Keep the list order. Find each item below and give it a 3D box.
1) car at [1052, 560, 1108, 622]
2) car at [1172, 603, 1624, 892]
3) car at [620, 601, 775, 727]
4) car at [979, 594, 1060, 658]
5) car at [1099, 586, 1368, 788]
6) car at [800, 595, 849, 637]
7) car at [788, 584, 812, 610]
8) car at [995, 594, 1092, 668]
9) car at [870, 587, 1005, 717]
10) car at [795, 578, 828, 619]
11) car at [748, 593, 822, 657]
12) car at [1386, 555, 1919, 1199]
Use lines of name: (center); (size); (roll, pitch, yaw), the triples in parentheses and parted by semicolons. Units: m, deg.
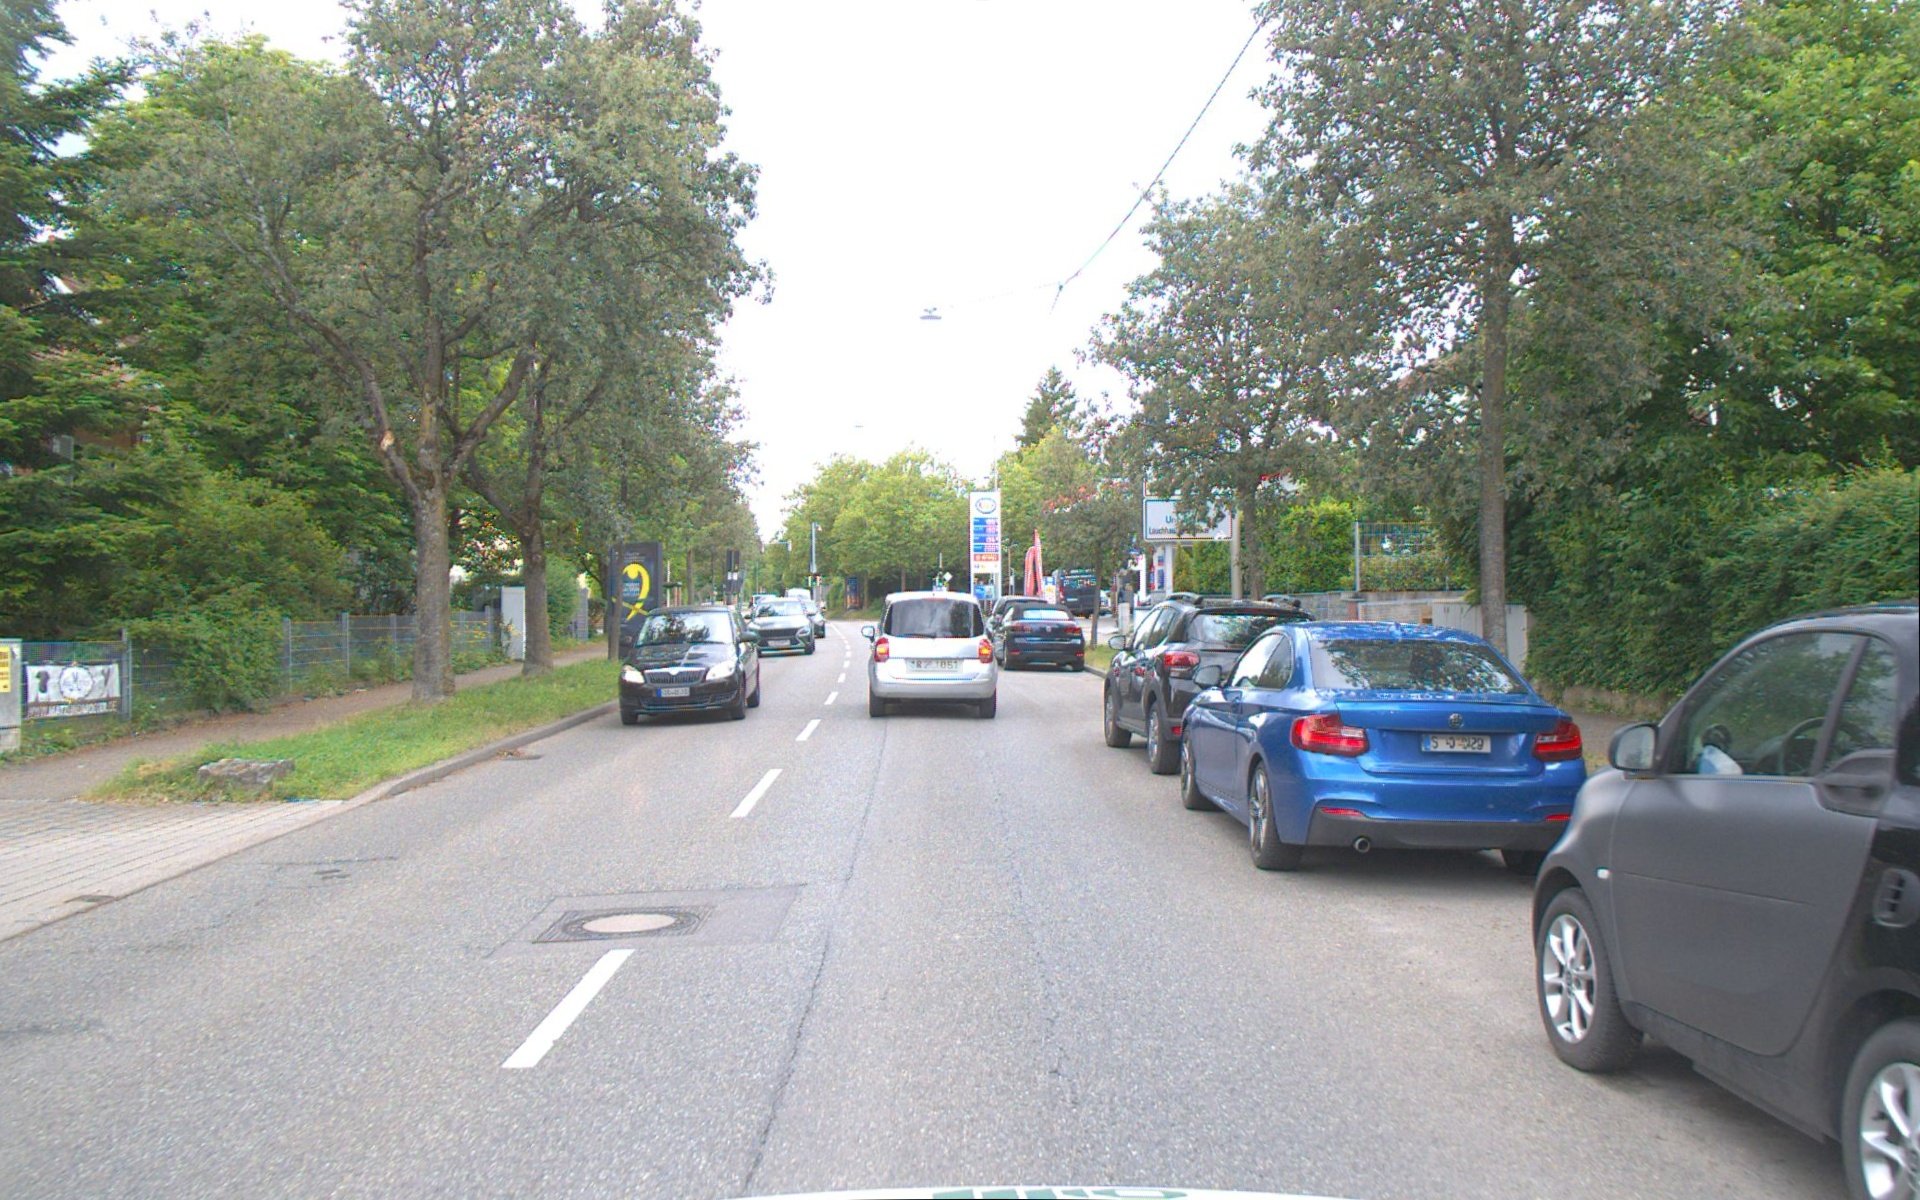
car: (5.882, -0.428, 81.760); (2.235, 2.962, 5.277); (1, 0, -2)
car: (2.539, 0.760, 10.692); (1.662, 1.458, 4.338); (0, 0, -2)
car: (-3.491, 0.799, 22.572); (1.513, 1.496, 3.741); (-2, 0, -1)
car: (1.455, 0.620, 41.890); (1.662, 1.532, 3.641); (-1, 0, -4)
car: (2.475, 0.735, 15.912); (1.662, 1.597, 3.953); (4, 0, -3)
car: (-5.186, 0.587, 63.802); (1.661, 1.532, 3.643); (0, 0, -2)
car: (-12.882, -0.241, 133.363); (1.705, 2.049, 3.999); (0, 0, -2)
car: (1.784, 0.634, 36.435); (1.662, 1.532, 3.969); (-1, 0, -4)
car: (-0.321, 0.625, 22.080); (1.645, 1.587, 3.510); (0, 0, -2)
car: (-9.093, -0.106, 101.562); (1.896, 2.450, 3.997); (0, 0, -4)
car: (-4.836, 0.659, 45.998); (1.758, 1.582, 3.670); (-3, 0, -3)
car: (2.799, 0.740, 5.256); (1.661, 1.585, 3.953); (2, -1, -3)
